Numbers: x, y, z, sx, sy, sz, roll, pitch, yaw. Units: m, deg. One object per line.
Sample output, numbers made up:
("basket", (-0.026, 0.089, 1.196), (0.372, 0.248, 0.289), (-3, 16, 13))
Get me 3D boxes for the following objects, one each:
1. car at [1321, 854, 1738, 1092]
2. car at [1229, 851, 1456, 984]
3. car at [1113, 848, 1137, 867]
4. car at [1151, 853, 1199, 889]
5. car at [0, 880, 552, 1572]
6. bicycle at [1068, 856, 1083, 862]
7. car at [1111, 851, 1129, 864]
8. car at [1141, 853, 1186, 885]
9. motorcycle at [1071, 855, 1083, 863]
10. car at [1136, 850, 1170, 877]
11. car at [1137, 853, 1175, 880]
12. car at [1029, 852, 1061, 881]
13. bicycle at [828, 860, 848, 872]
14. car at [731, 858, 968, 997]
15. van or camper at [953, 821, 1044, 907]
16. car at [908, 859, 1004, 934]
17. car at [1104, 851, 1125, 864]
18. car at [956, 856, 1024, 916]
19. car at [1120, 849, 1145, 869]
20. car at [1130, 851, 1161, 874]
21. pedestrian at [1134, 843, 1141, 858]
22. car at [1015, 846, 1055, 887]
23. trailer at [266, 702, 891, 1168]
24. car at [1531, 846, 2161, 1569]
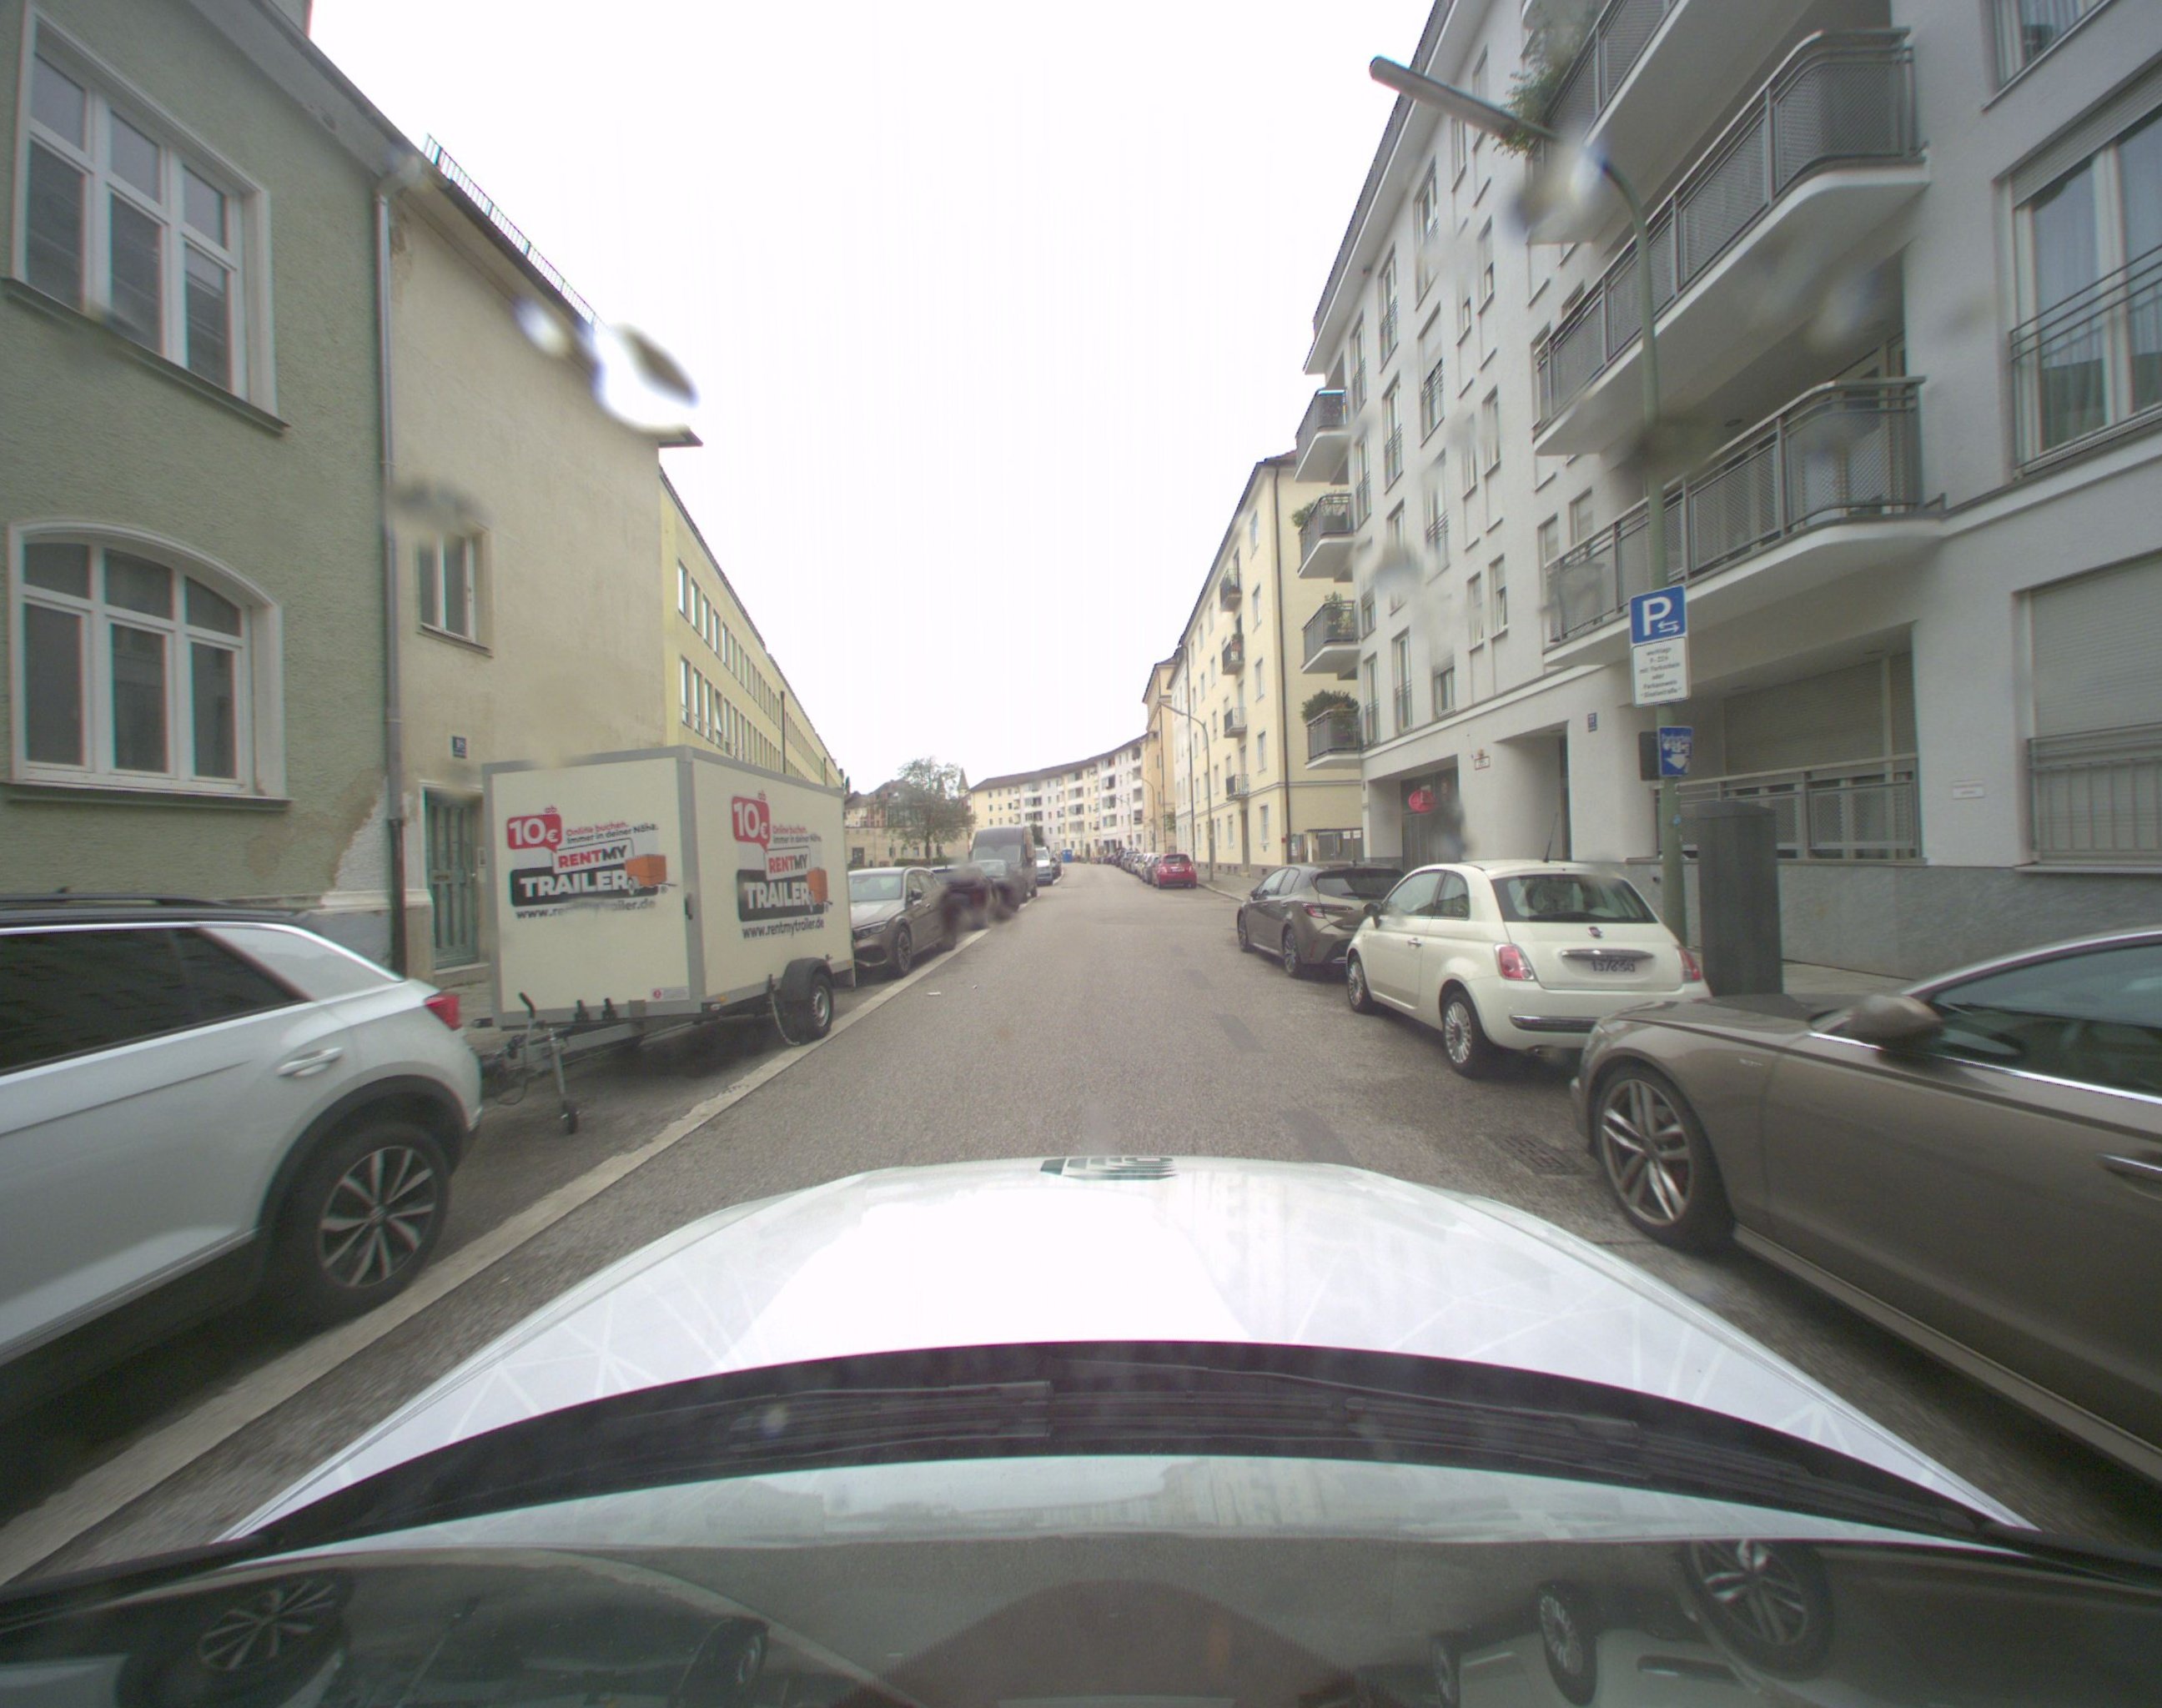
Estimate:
("car", (3.397, 0.756, 7.039), (1.611, 1.467, 3.748), (-1, 0, 1))
("car", (3.400, 0.723, 11.501), (1.766, 1.475, 4.215), (-1, 0, -1))
("car", (4.359, 0.330, 81.184), (2.162, 1.739, 5.024), (-1, 0, 0))
("car", (4.040, 0.688, 35.491), (1.649, 1.429, 3.755), (-1, 0, 0))
("car", (-3.382, 0.946, 1.757), (1.673, 1.530, 4.107), (-3, 0, 1))
("bicycle", (-0.941, 0.841, 138.204), (2.243, 1.069, 0.912), (-1, 0, -24))
("car", (4.336, 0.421, 91.573), (1.627, 1.417, 3.676), (-1, 0, -3))
("car", (4.033, 0.713, 40.469), (1.767, 1.429, 4.614), (-1, 0, 0))
("motorcycle", (-0.674, 0.750, 130.158), (0.936, 1.221, 2.487), (-1, 0, -24))
("car", (4.442, 0.566, 50.971), (1.646, 1.543, 3.991), (-1, 0, -2))
("car", (4.215, 0.666, 46.042), (1.719, 1.429, 4.293), (-1, 0, 0))
("car", (-2.290, 0.744, 52.375), (1.709, 1.689, 4.141), (-3, 0, 0))
("bicycle", (-23.566, 1.170, 78.971), (1.849, 1.096, 0.698), (0, 0, -17))
("car", (-3.202, 0.922, 12.551), (1.856, 1.541, 5.096), (-3, 0, 3))
("van or camper", (-2.795, 0.310, 29.088), (2.284, 2.650, 5.564), (-4, 0, 2))
("car", (-2.859, 0.918, 19.453), (1.671, 1.436, 4.283), (-4, 0, -2))
("car", (3.986, 0.395, 97.839), (1.904, 1.477, 4.940), (-1, 0, -4))
("car", (-2.605, 0.866, 24.052), (1.649, 1.497, 3.905), (-4, 0, -2))
("car", (4.488, 0.410, 71.100), (1.841, 1.663, 4.496), (-1, 0, -1))
("car", (4.402, 0.570, 56.295), (1.719, 1.450, 4.186), (-1, 0, -1))
("pedestrian", (6.714, -0.387, 96.061), (0.615, 1.690, 0.919), (-5, 0, 0))
("car", (-2.362, 0.599, 42.161), (1.910, 1.960, 4.957), (-1, 0, -3))
("trailer", (-3.382, 0.465, 6.852), (1.967, 2.471, 4.582), (-5, 0, 5))
("car", (3.102, 0.718, 1.695), (1.785, 1.482, 4.602), (-1, 0, 0))
